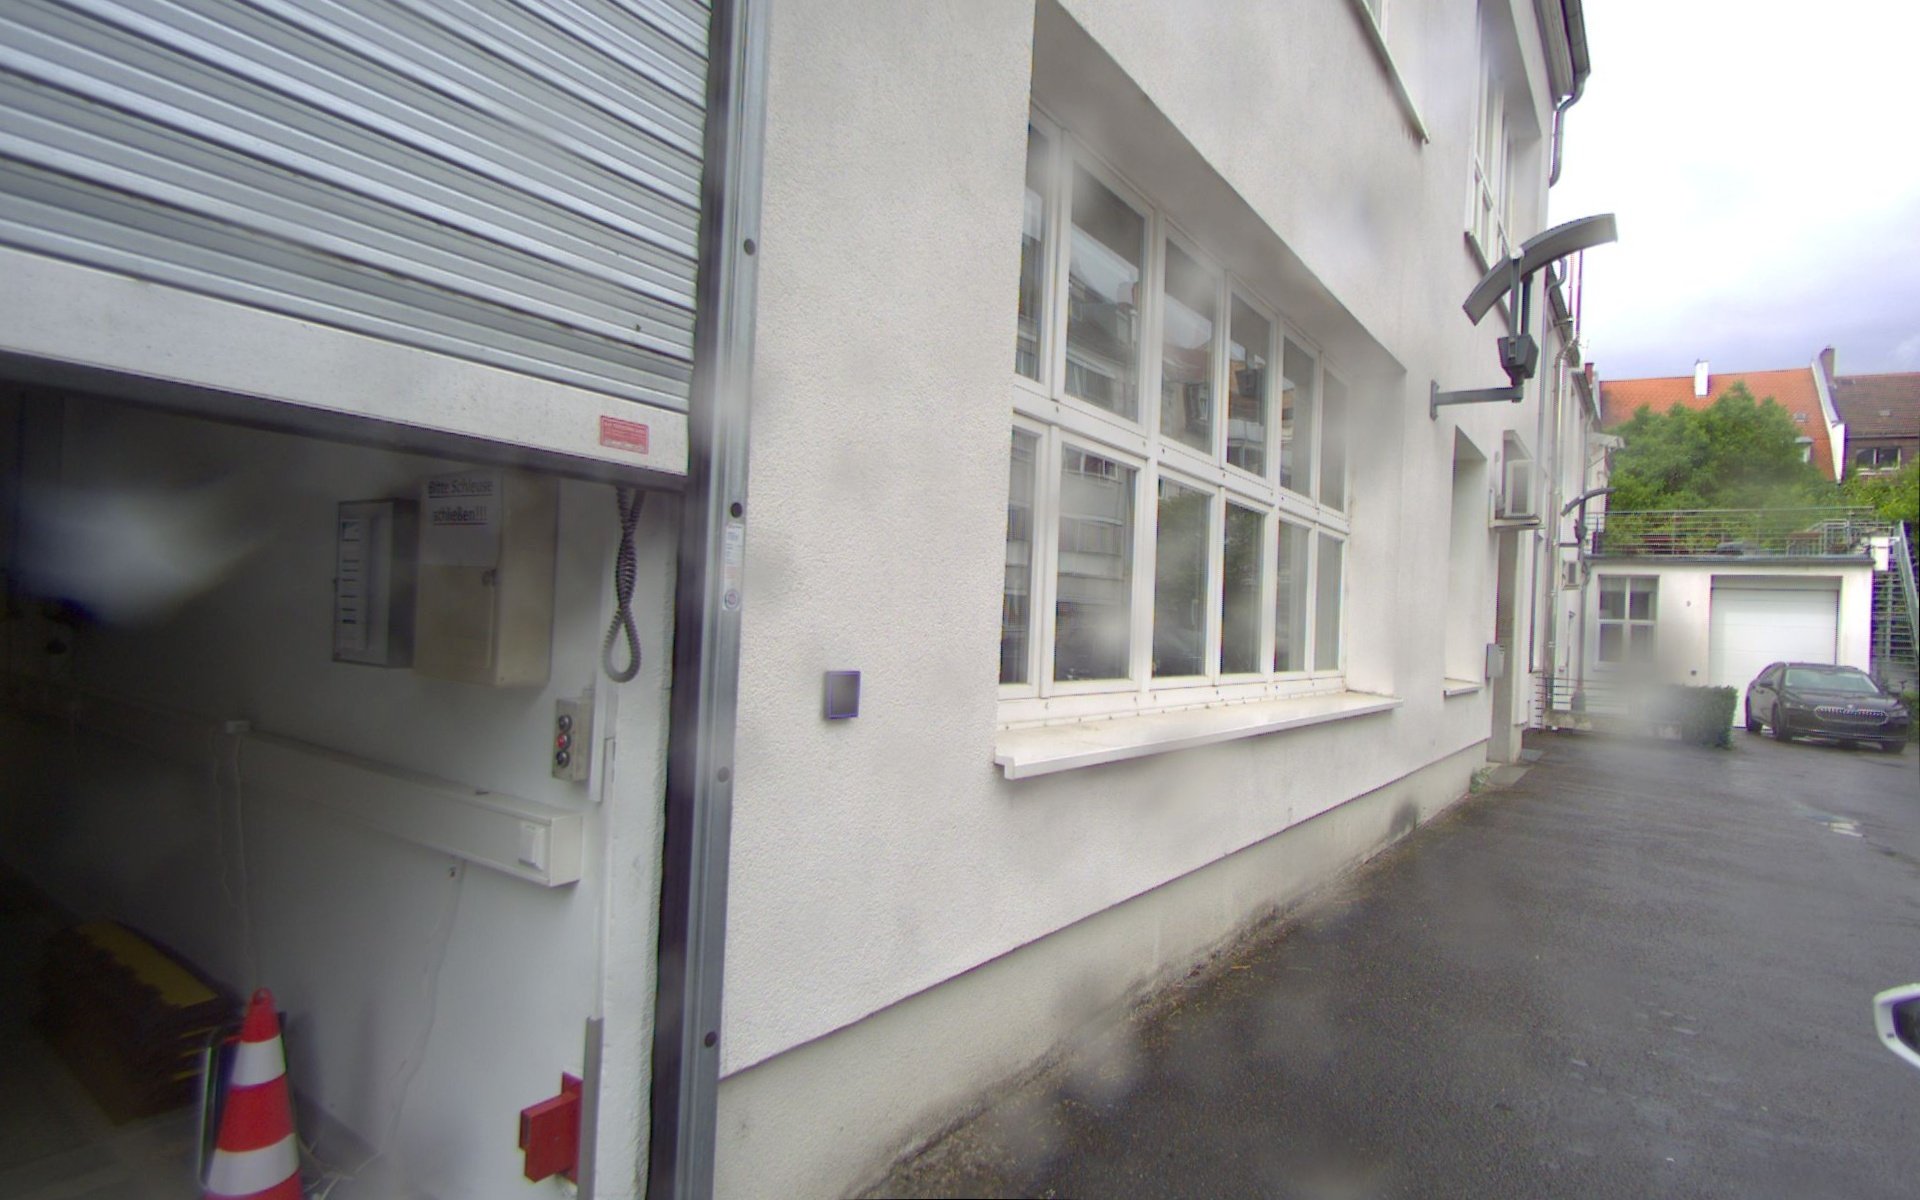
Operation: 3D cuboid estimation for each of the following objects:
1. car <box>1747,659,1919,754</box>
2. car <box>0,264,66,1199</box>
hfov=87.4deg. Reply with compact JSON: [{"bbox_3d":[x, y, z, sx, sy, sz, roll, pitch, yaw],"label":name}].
[{"bbox_3d":[16.510,1.924,19.166,1.952,1.463,3.990,2,-1,33],"label":"car"},{"bbox_3d":[-4.332,0.215,2.513,4.627,2.040,2.078,3,-1,35],"label":"car"}]
